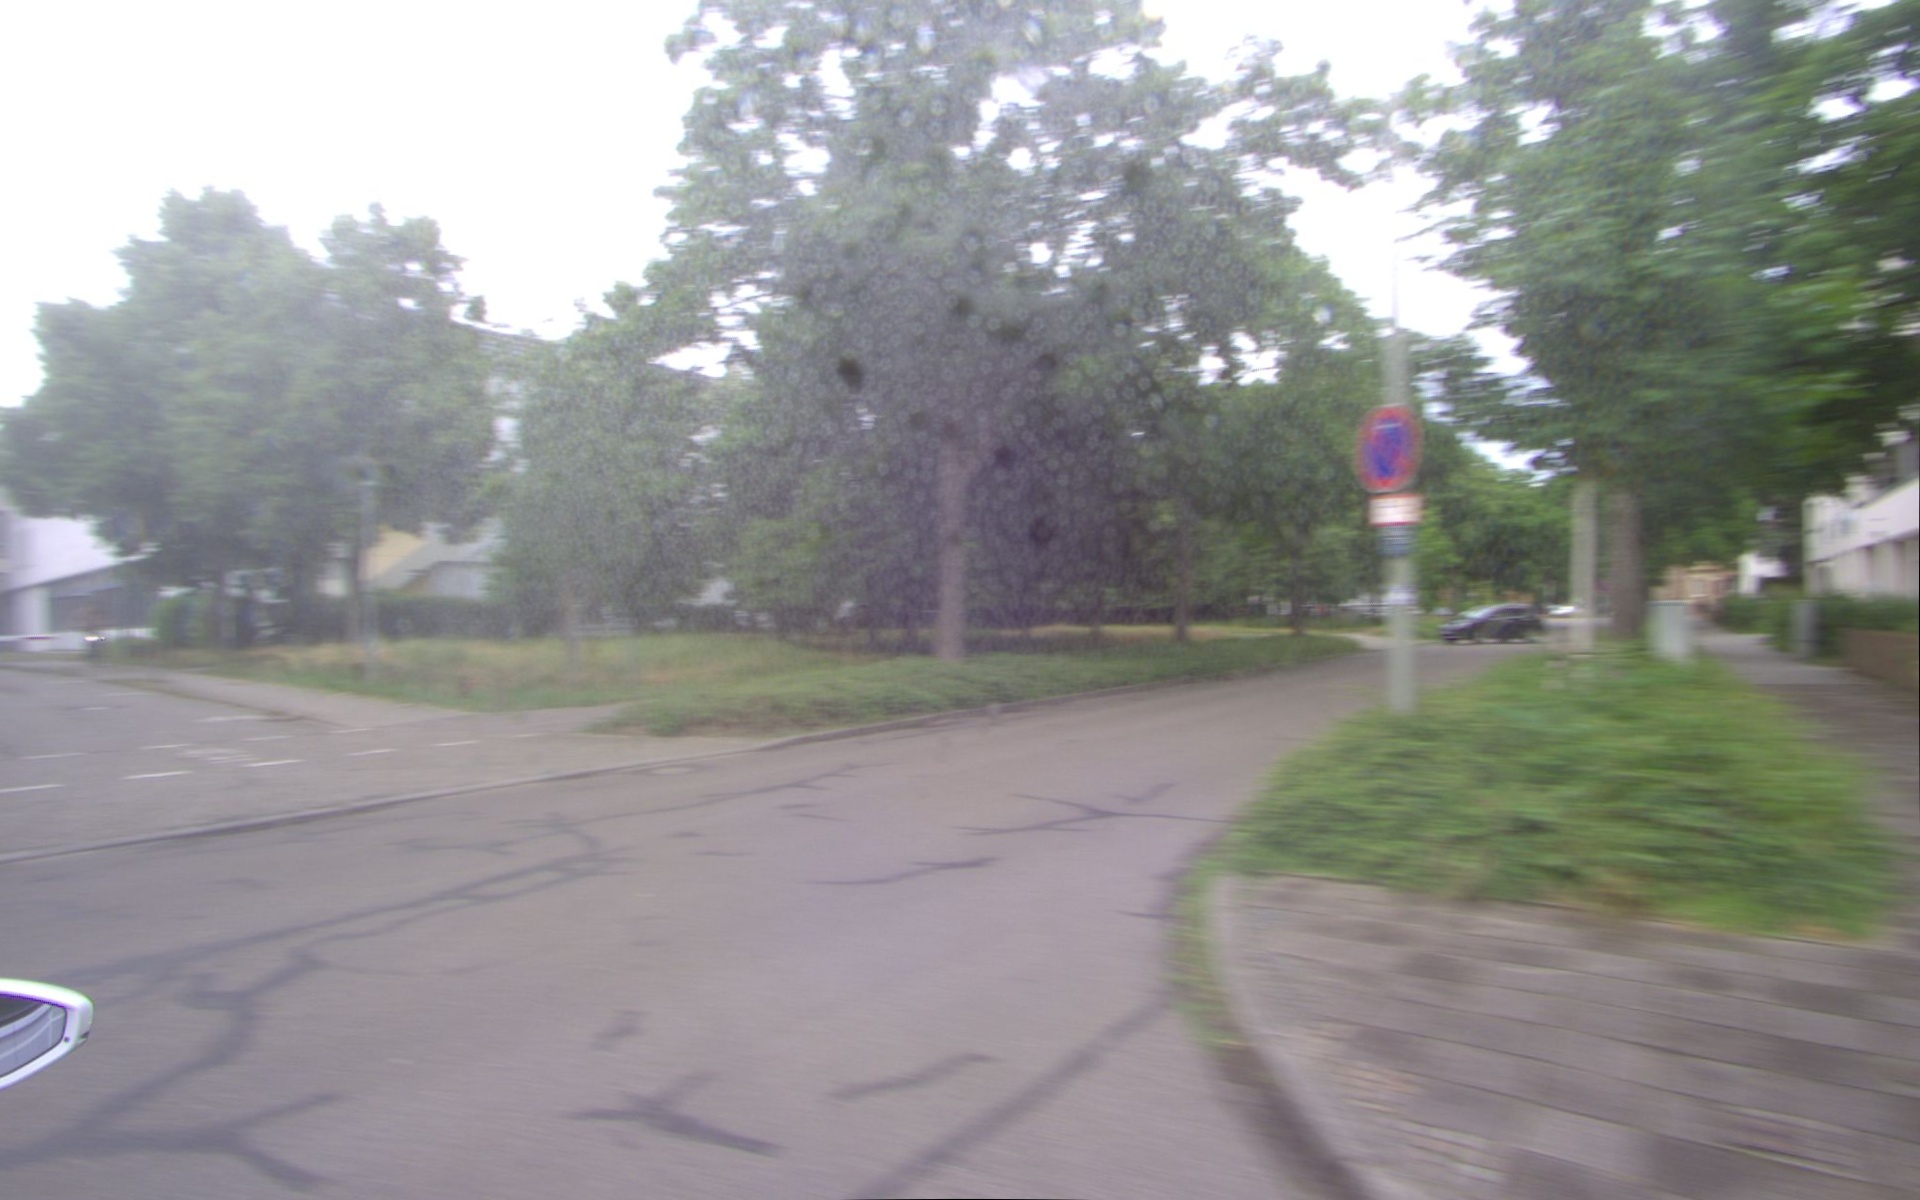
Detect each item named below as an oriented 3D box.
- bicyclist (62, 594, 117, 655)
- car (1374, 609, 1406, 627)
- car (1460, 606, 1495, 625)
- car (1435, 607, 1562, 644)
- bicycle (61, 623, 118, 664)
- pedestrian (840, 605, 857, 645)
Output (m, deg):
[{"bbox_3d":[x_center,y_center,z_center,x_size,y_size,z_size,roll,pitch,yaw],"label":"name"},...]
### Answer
[{"bbox_3d":[-24.295,0.681,27.940,0.912,1.666,1.013,0,0,40],"label":"bicyclist"},{"bbox_3d":[49.302,2.055,114.851,3.263,1.949,1.804,-2,-2,28],"label":"car"},{"bbox_3d":[56.994,1.719,110.318,3.263,1.949,1.804,-2,-2,28],"label":"car"},{"bbox_3d":[23.008,1.071,42.865,4.453,1.505,1.999,0,0,-7],"label":"car"},{"bbox_3d":[-24.268,1.196,27.907,2.116,1.089,0.863,-1,0,40],"label":"bicycle"},{"bbox_3d":[-5.102,1.128,45.690,0.567,1.822,0.539,-1,1,-42],"label":"pedestrian"}]
